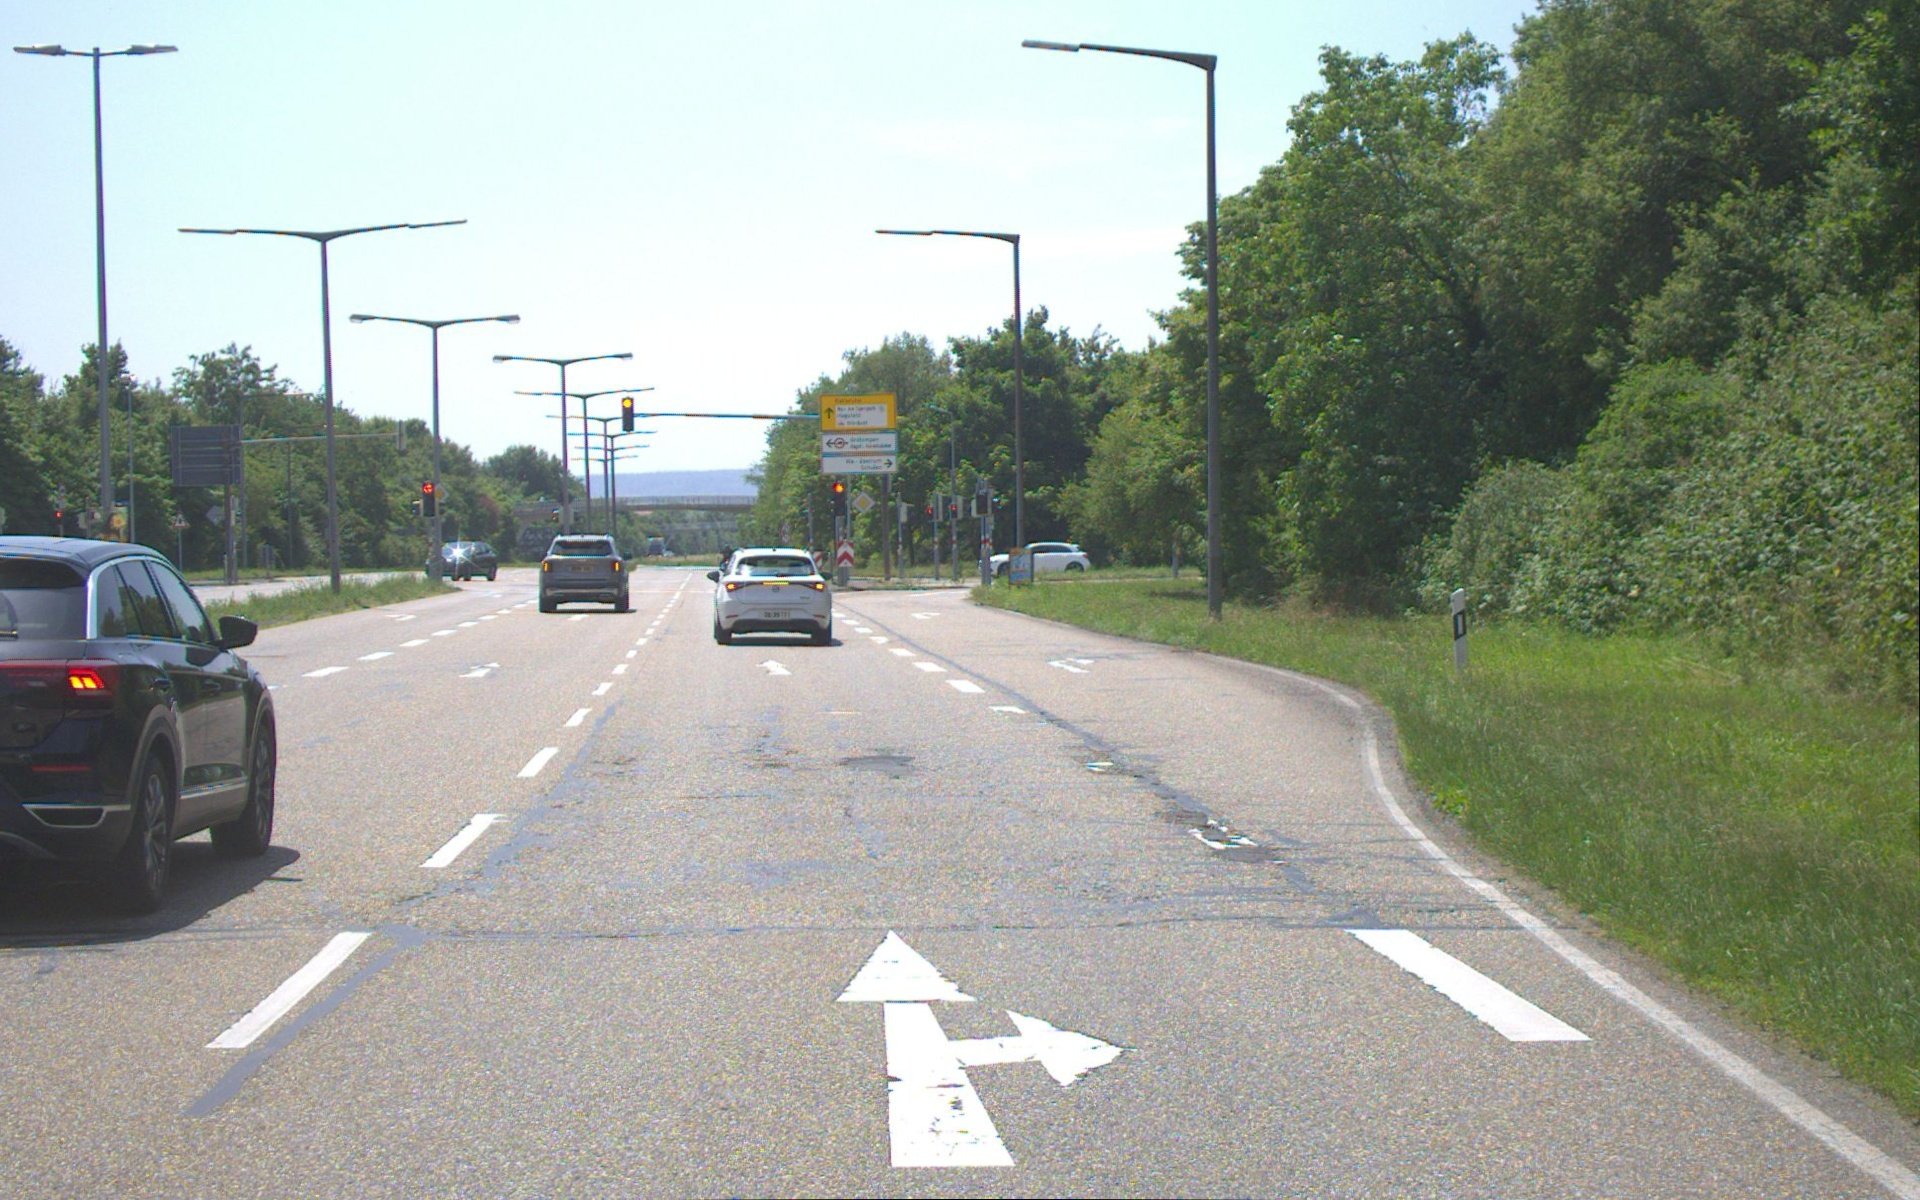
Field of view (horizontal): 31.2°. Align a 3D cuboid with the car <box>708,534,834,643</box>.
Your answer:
[{"bbox_3d":[-2.874,-0.206,52.897,1.797,1.577,4.000,-1,1,-2],"label":"car"}]

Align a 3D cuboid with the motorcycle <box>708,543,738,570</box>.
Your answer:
[{"bbox_3d":[-11.832,-2.171,171.916,1.424,1.276,2.569,-2,1,-4],"label":"motorcycle"}]

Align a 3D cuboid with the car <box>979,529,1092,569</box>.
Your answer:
[{"bbox_3d":[2.972,-2.013,135.764,4.100,1.520,1.939,-1,1,-12],"label":"car"}]

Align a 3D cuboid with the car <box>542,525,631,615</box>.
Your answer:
[{"bbox_3d":[-8.295,-0.676,76.592,1.755,1.922,4.001,-1,1,-3],"label":"car"}]

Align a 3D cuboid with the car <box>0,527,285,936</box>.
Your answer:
[{"bbox_3d":[-4.113,0.477,15.026,1.755,1.551,4.001,-1,1,-3],"label":"car"}]
